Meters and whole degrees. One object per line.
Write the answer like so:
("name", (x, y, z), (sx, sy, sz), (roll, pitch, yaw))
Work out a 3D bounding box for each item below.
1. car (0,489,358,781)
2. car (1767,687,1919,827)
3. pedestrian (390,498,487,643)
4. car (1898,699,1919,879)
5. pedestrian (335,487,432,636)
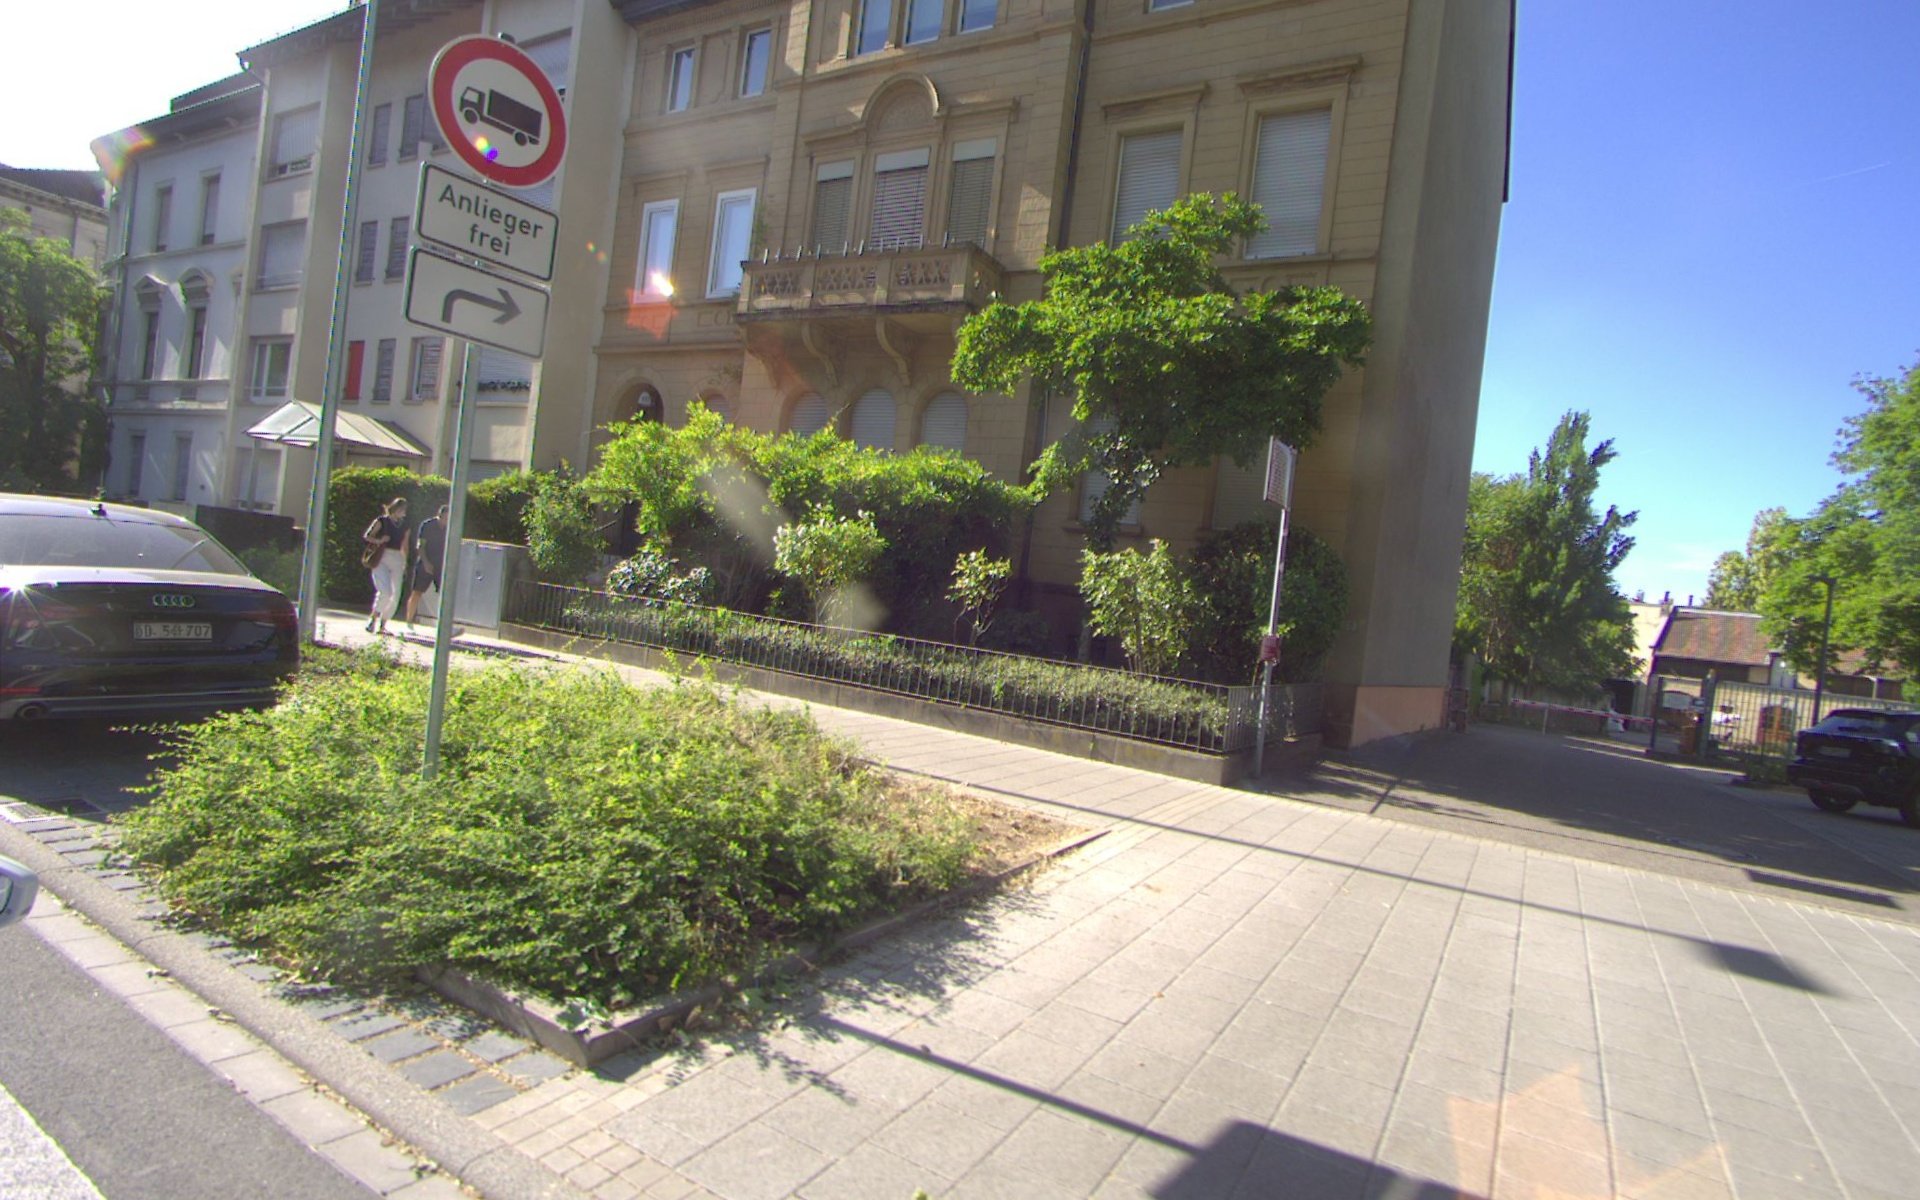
("car", (-6.261, 0.018, 6.826), (4.413, 1.460, 1.846), (7, 0, 32))
("car", (13.995, 2.297, 14.356), (3.484, 1.652, 1.856), (5, 0, -7))
("pedestrian", (-6.855, -0.388, 13.217), (0.999, 1.777, 0.653), (7, 1, 41))
("car", (9.668, 1.570, 7.591), (3.444, 1.875, 1.710), (8, -1, -2))
("pedestrian", (-7.320, -0.486, 12.765), (0.862, 1.777, 0.674), (7, 1, 41))
